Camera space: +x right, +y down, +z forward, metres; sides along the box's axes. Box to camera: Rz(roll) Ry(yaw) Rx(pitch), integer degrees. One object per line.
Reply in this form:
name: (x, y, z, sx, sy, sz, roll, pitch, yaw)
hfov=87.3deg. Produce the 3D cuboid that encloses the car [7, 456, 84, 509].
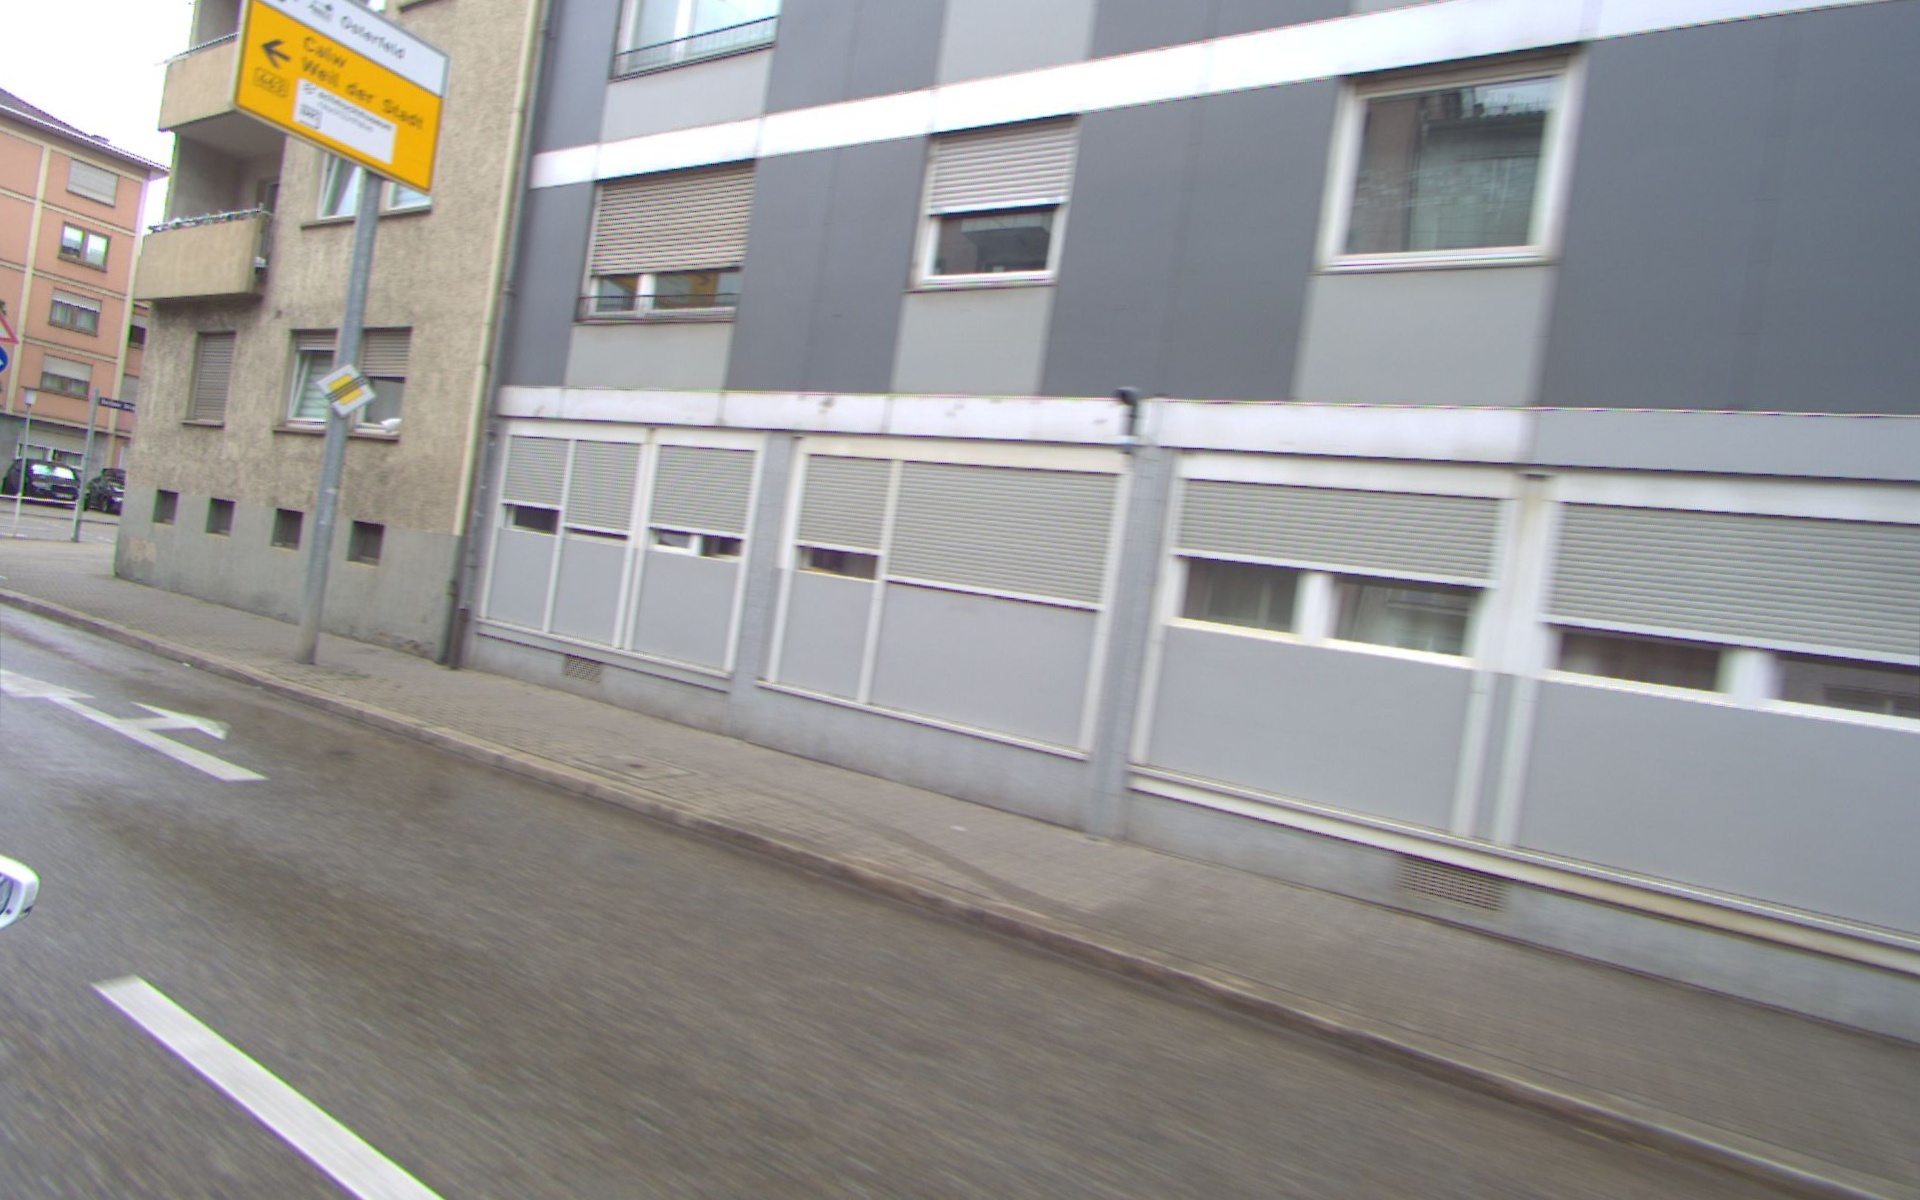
car: (-36.929, -4.740, 40.586, 3.947, 1.741, 1.982, 8, 1, 44)

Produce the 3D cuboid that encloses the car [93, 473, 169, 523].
car: (-35.208, -4.294, 42.820, 1.783, 1.718, 3.966, 9, -1, -32)
